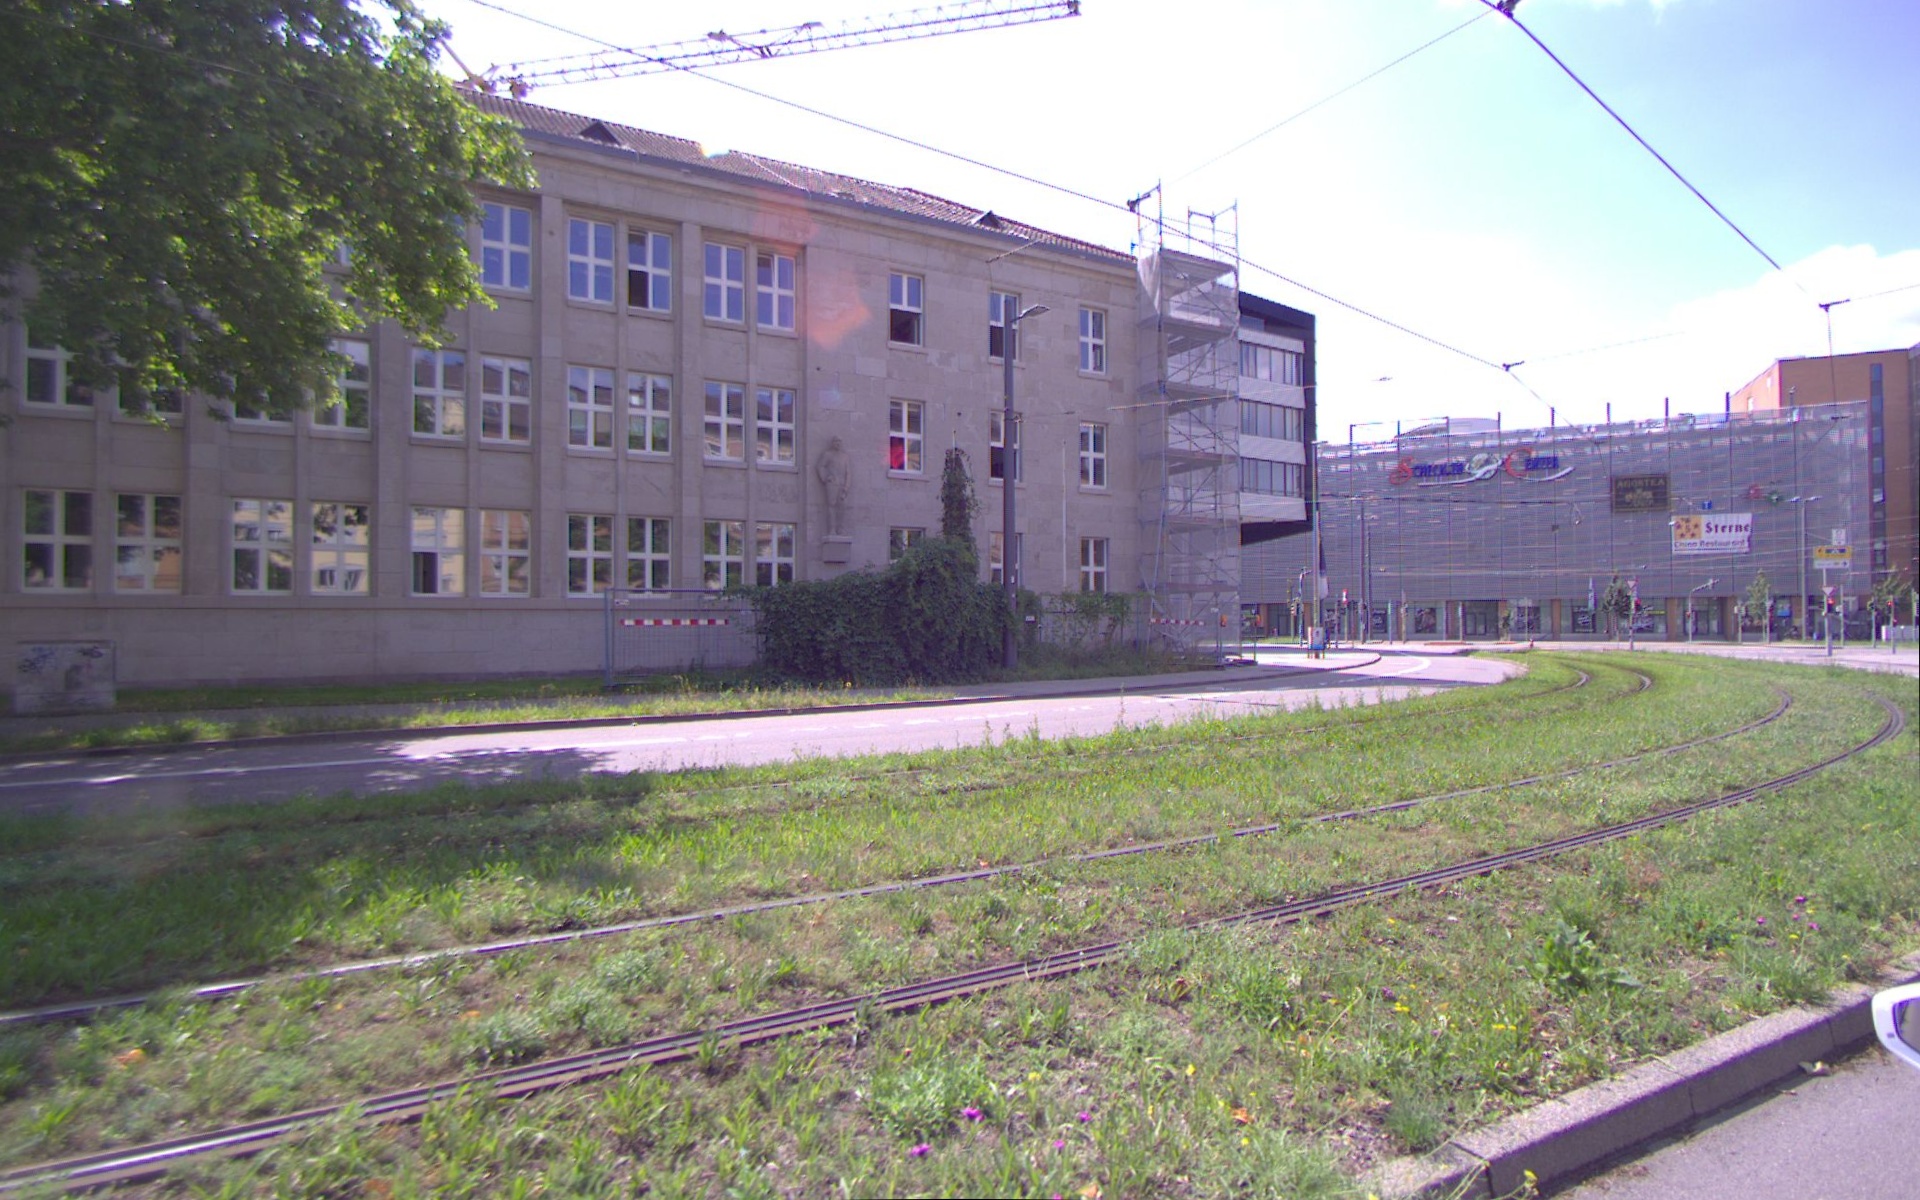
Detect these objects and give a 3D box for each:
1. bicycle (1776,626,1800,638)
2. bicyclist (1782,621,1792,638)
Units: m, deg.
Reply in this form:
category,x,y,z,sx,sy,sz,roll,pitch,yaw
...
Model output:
category,x,y,z,sx,sy,sz,roll,pitch,yaw
bicycle,82.482,3.180,100.041,1.733,1.240,0.584,0,-1,25
bicyclist,82.428,2.963,100.069,0.652,1.645,0.550,0,-1,25
